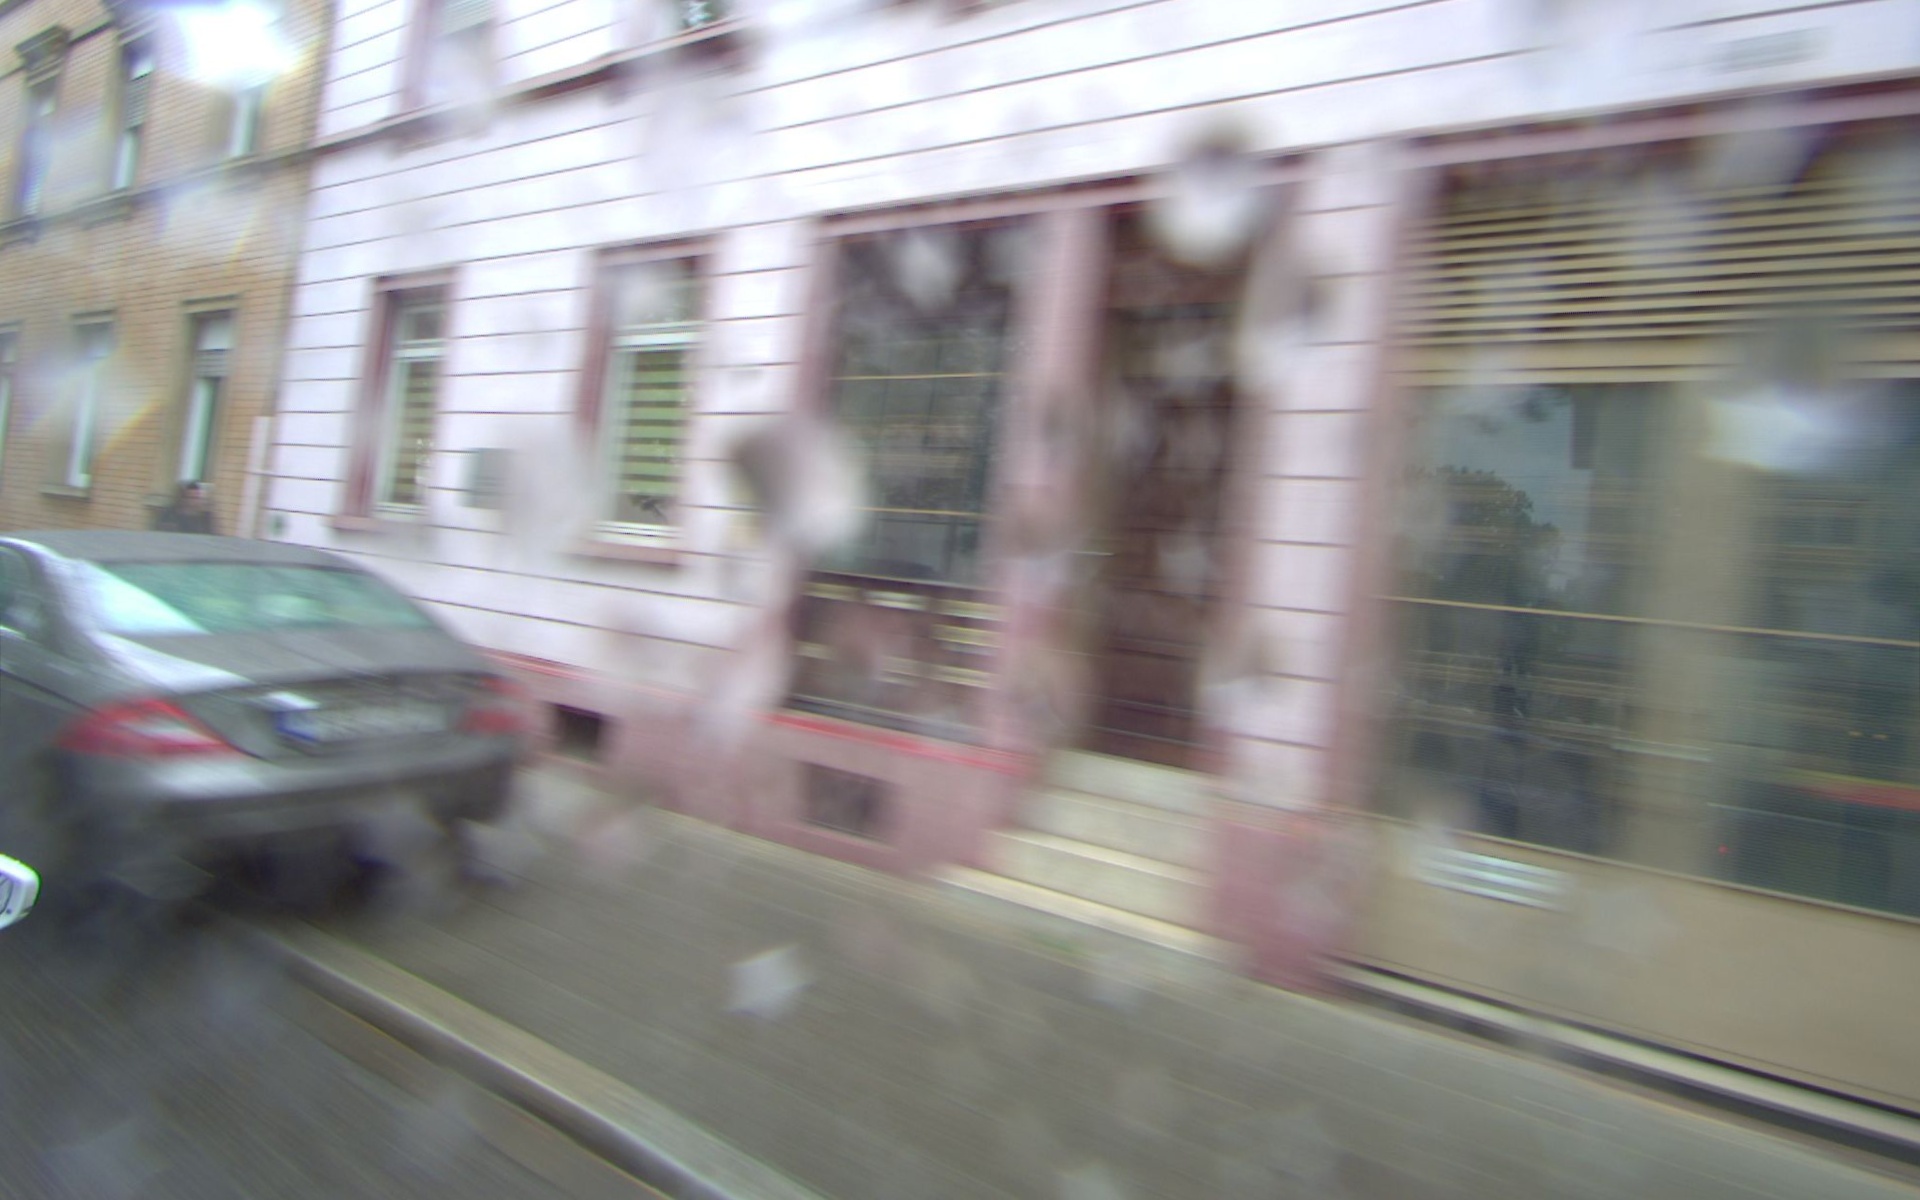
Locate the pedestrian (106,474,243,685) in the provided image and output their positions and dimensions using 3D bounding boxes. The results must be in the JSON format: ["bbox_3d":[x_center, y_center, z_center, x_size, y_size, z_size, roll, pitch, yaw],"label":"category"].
[{"bbox_3d":[-6.714,-0.162,8.603,0.593,1.706,0.639,7,1,30],"label":"pedestrian"}]

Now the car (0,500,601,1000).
[{"bbox_3d":[-4.051,0.311,5.013,4.622,1.439,1.814,6,1,34],"label":"car"}]
